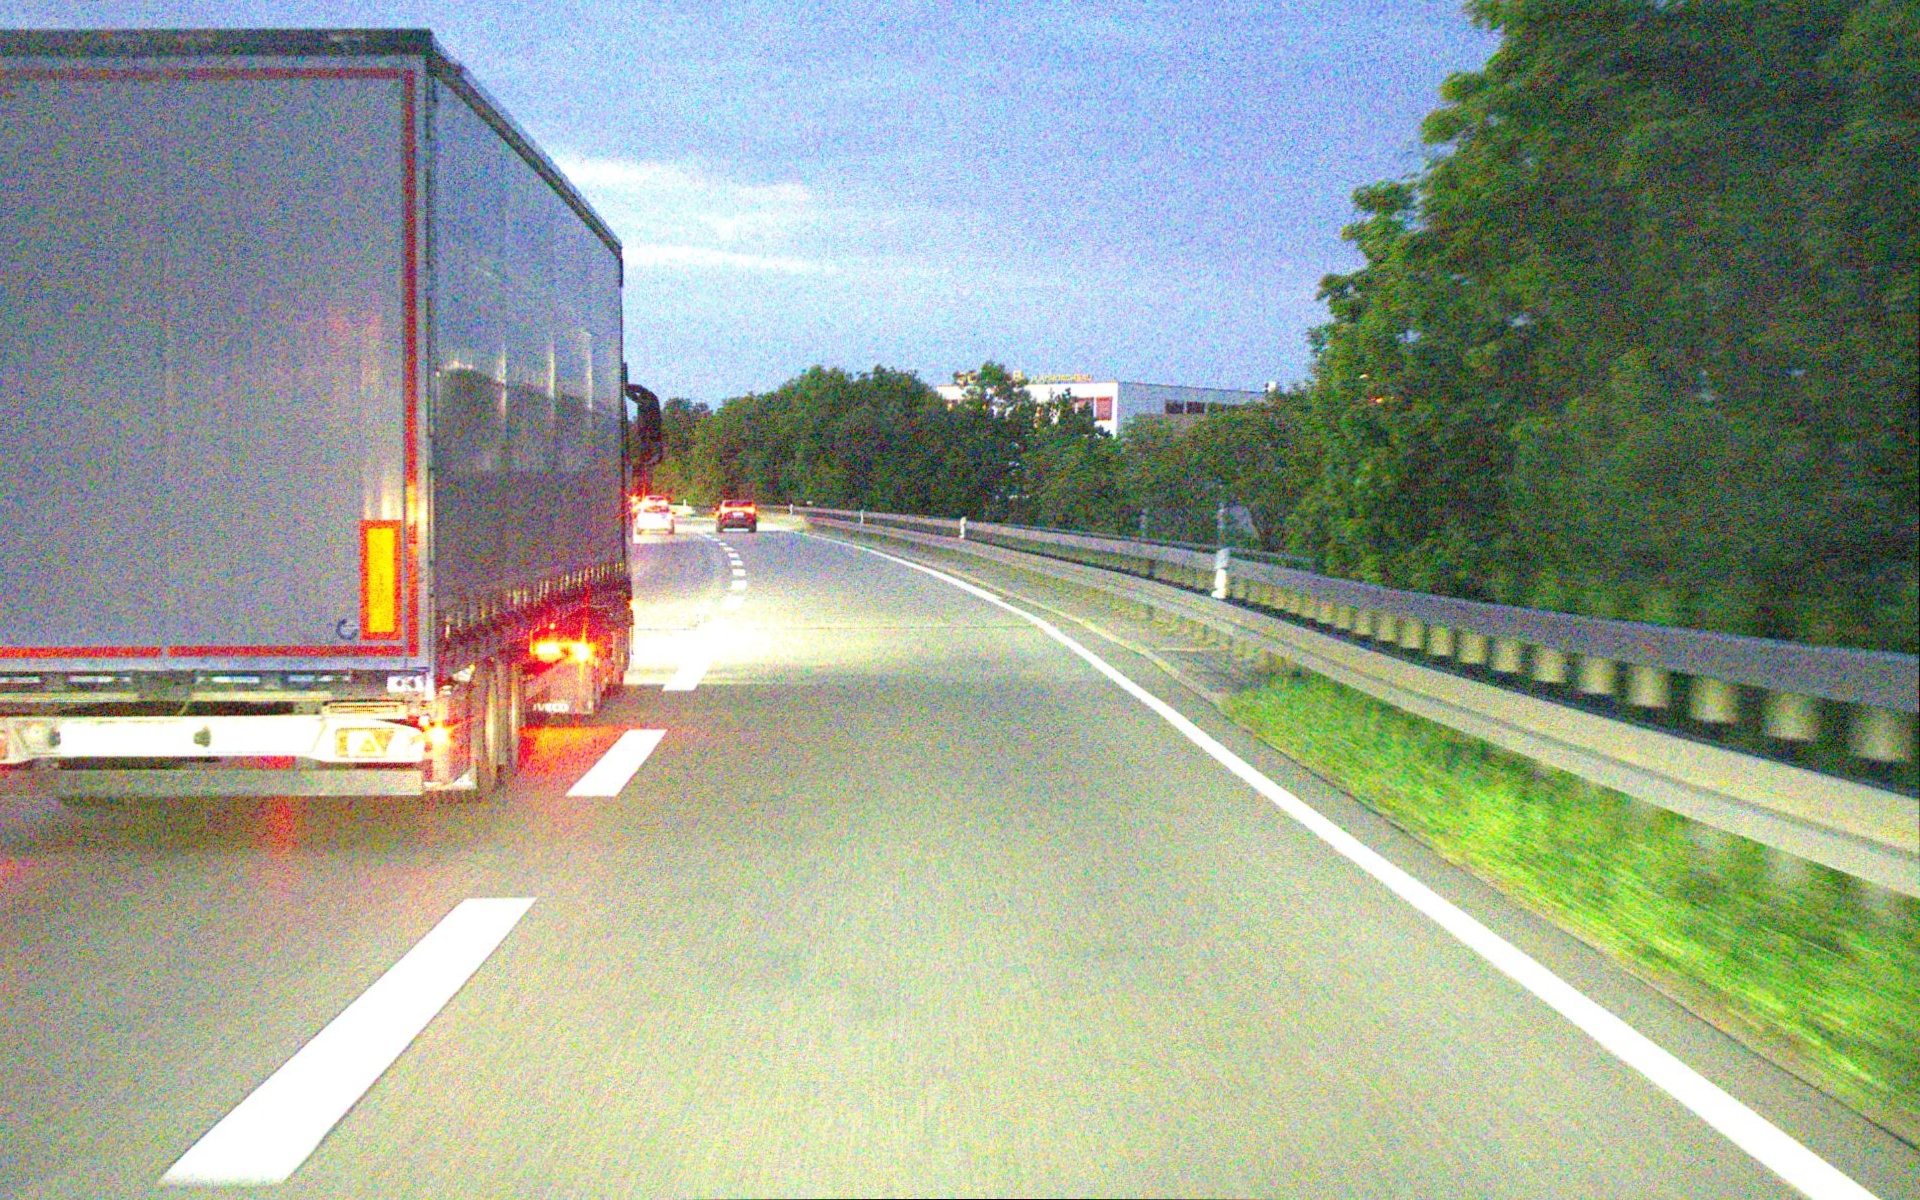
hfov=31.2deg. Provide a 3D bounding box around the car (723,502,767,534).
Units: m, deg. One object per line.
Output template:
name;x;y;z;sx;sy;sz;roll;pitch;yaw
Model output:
car;-10.497;-4.003;167.578;1.993;1.349;4.000;1;-1;-5

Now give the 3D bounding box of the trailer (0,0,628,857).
trailer;-4.412;-0.980;23.159;3.550;4.102;15.065;0;1;-3

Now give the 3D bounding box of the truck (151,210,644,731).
truck;-4.692;-1.054;30.085;3.550;4.077;6.152;0;1;-2

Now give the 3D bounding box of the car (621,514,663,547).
car;-14.869;-3.236;160.660;1.884;1.349;4.000;1;-1;-5
